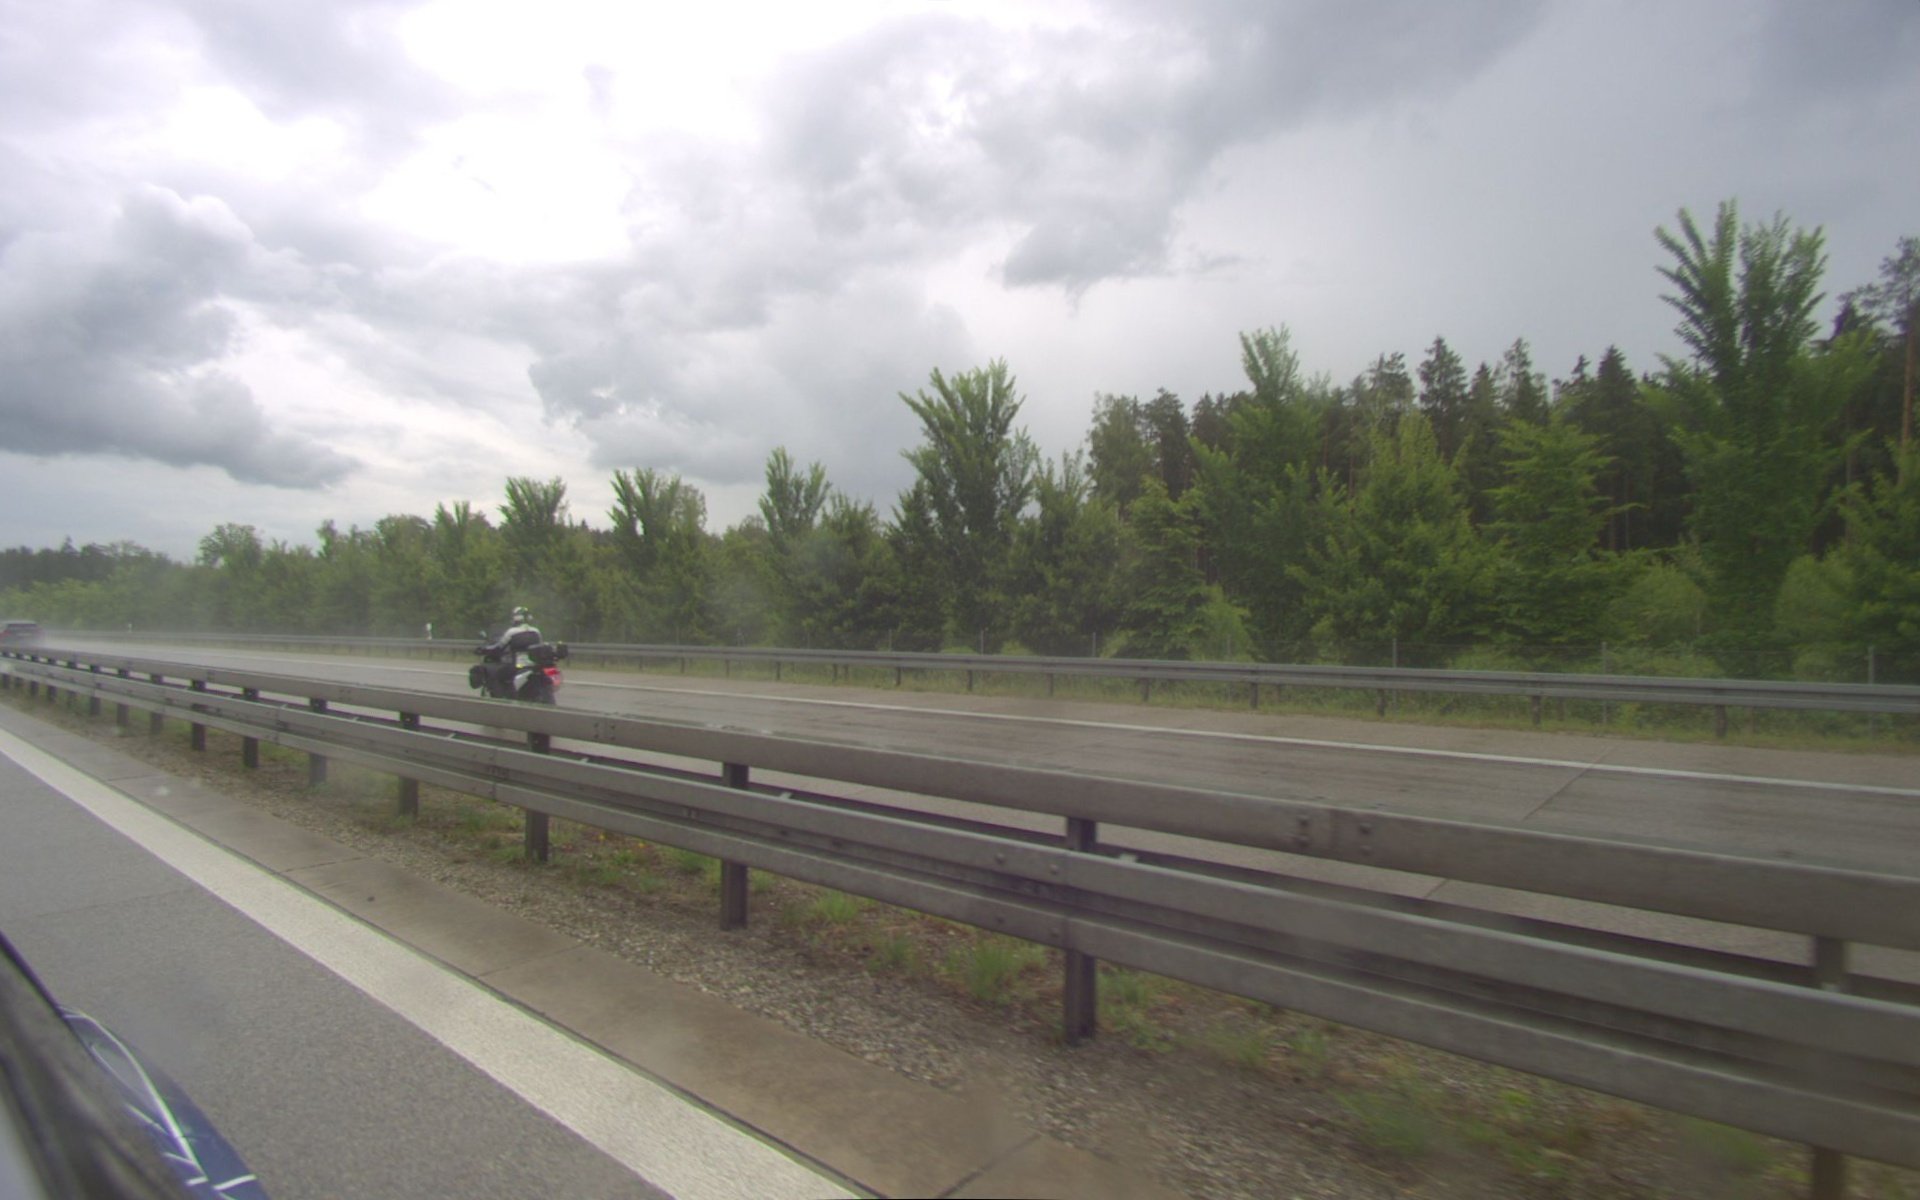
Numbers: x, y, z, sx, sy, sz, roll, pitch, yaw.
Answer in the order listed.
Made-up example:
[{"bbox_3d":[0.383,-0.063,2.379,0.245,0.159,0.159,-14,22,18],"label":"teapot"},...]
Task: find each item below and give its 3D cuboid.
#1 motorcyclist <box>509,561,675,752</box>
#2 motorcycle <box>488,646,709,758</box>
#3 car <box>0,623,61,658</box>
[{"bbox_3d":[-4.688,0.660,12.877,1.695,2.246,1.249,-1,0,38],"label":"motorcyclist"},{"bbox_3d":[-4.626,1.214,12.831,2.958,1.152,1.254,-1,1,38],"label":"motorcycle"},{"bbox_3d":[-44.325,1.947,48.040,3.995,1.632,1.777,-2,-4,39],"label":"car"}]
